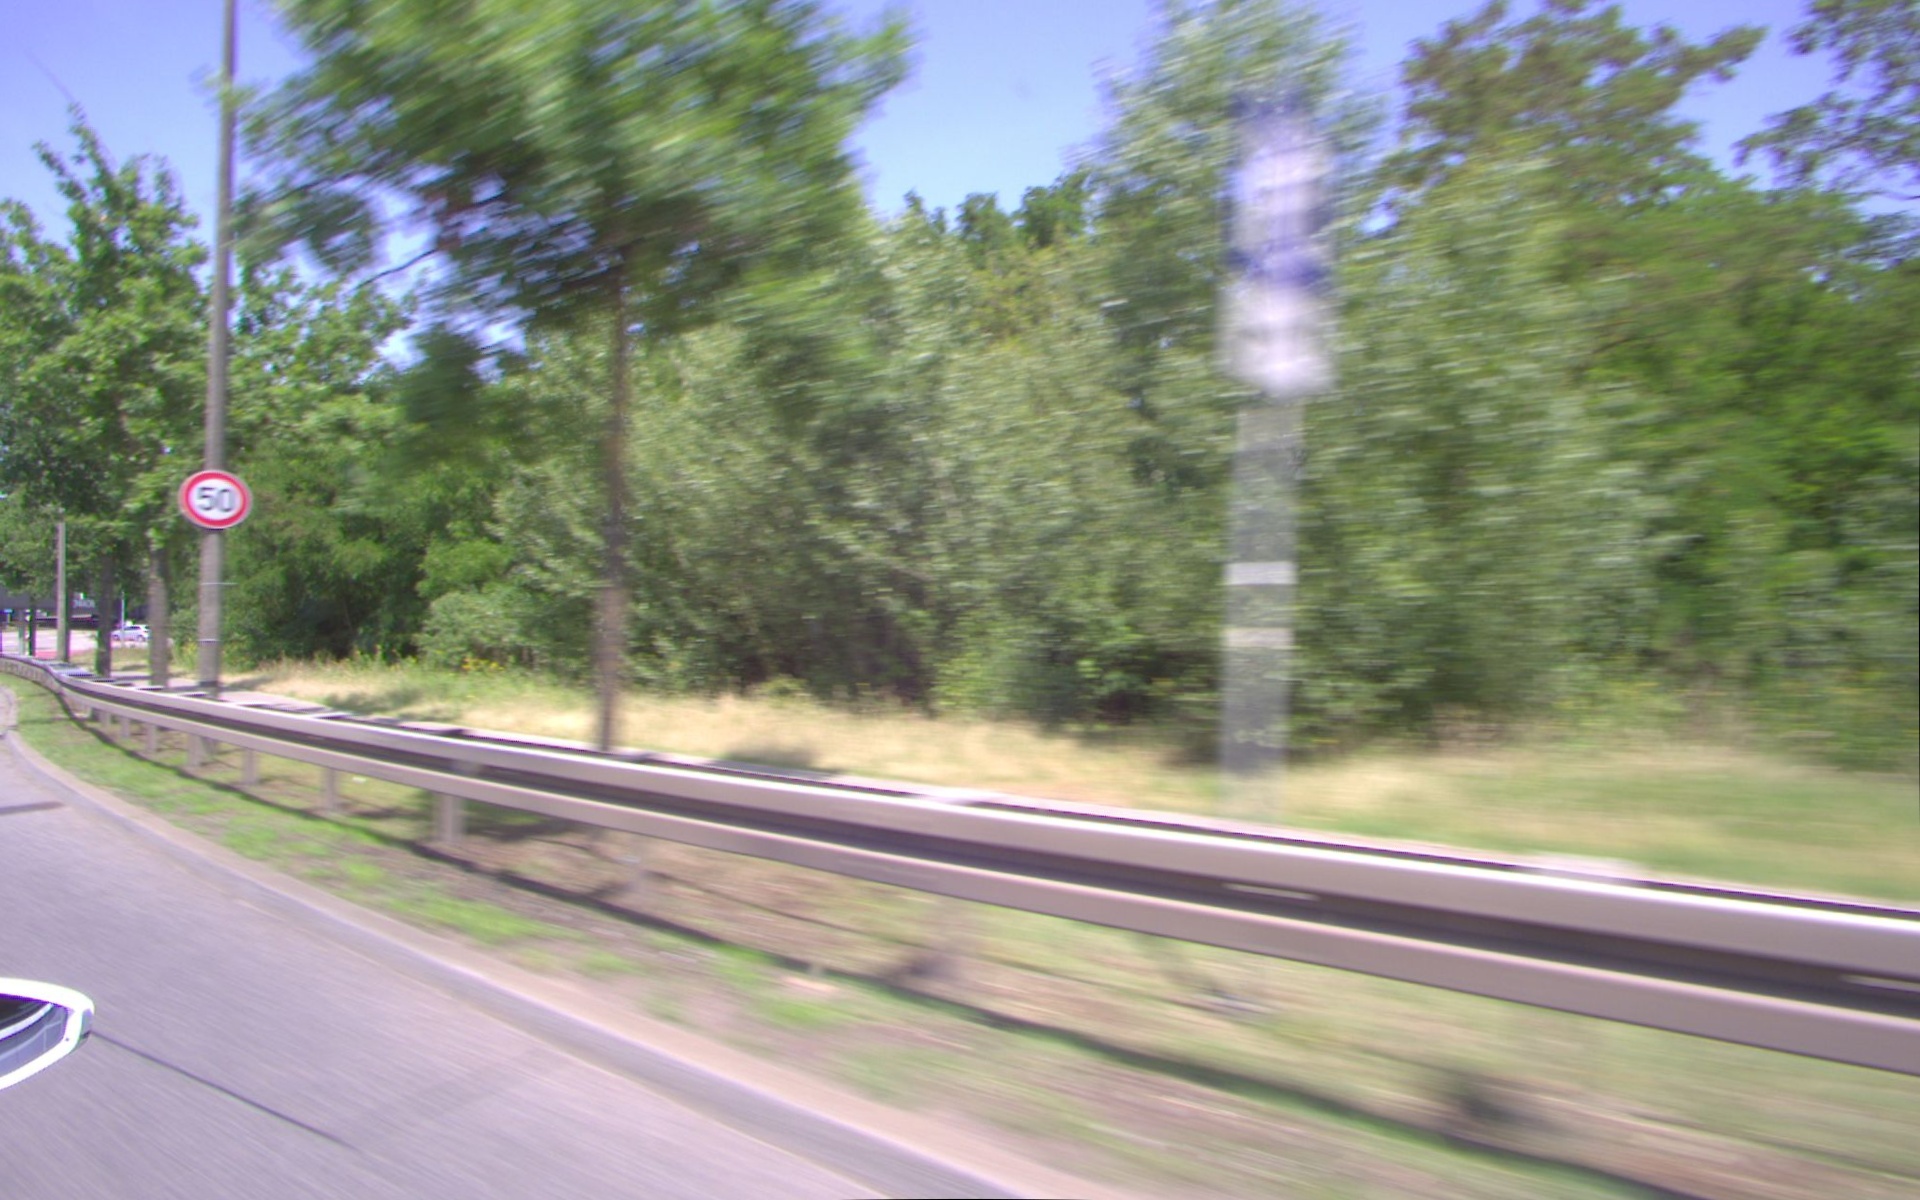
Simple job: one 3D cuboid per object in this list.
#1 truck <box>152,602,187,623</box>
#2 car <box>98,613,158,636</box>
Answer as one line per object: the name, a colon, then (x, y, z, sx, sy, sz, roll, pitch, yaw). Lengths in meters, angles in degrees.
truck: (-101.074, 1.602, 128.119, 2.037, 2.571, 3.994, 1, 0, -14)
car: (-74.447, 2.222, 89.587, 1.979, 2.039, 3.964, -1, -2, 44)
